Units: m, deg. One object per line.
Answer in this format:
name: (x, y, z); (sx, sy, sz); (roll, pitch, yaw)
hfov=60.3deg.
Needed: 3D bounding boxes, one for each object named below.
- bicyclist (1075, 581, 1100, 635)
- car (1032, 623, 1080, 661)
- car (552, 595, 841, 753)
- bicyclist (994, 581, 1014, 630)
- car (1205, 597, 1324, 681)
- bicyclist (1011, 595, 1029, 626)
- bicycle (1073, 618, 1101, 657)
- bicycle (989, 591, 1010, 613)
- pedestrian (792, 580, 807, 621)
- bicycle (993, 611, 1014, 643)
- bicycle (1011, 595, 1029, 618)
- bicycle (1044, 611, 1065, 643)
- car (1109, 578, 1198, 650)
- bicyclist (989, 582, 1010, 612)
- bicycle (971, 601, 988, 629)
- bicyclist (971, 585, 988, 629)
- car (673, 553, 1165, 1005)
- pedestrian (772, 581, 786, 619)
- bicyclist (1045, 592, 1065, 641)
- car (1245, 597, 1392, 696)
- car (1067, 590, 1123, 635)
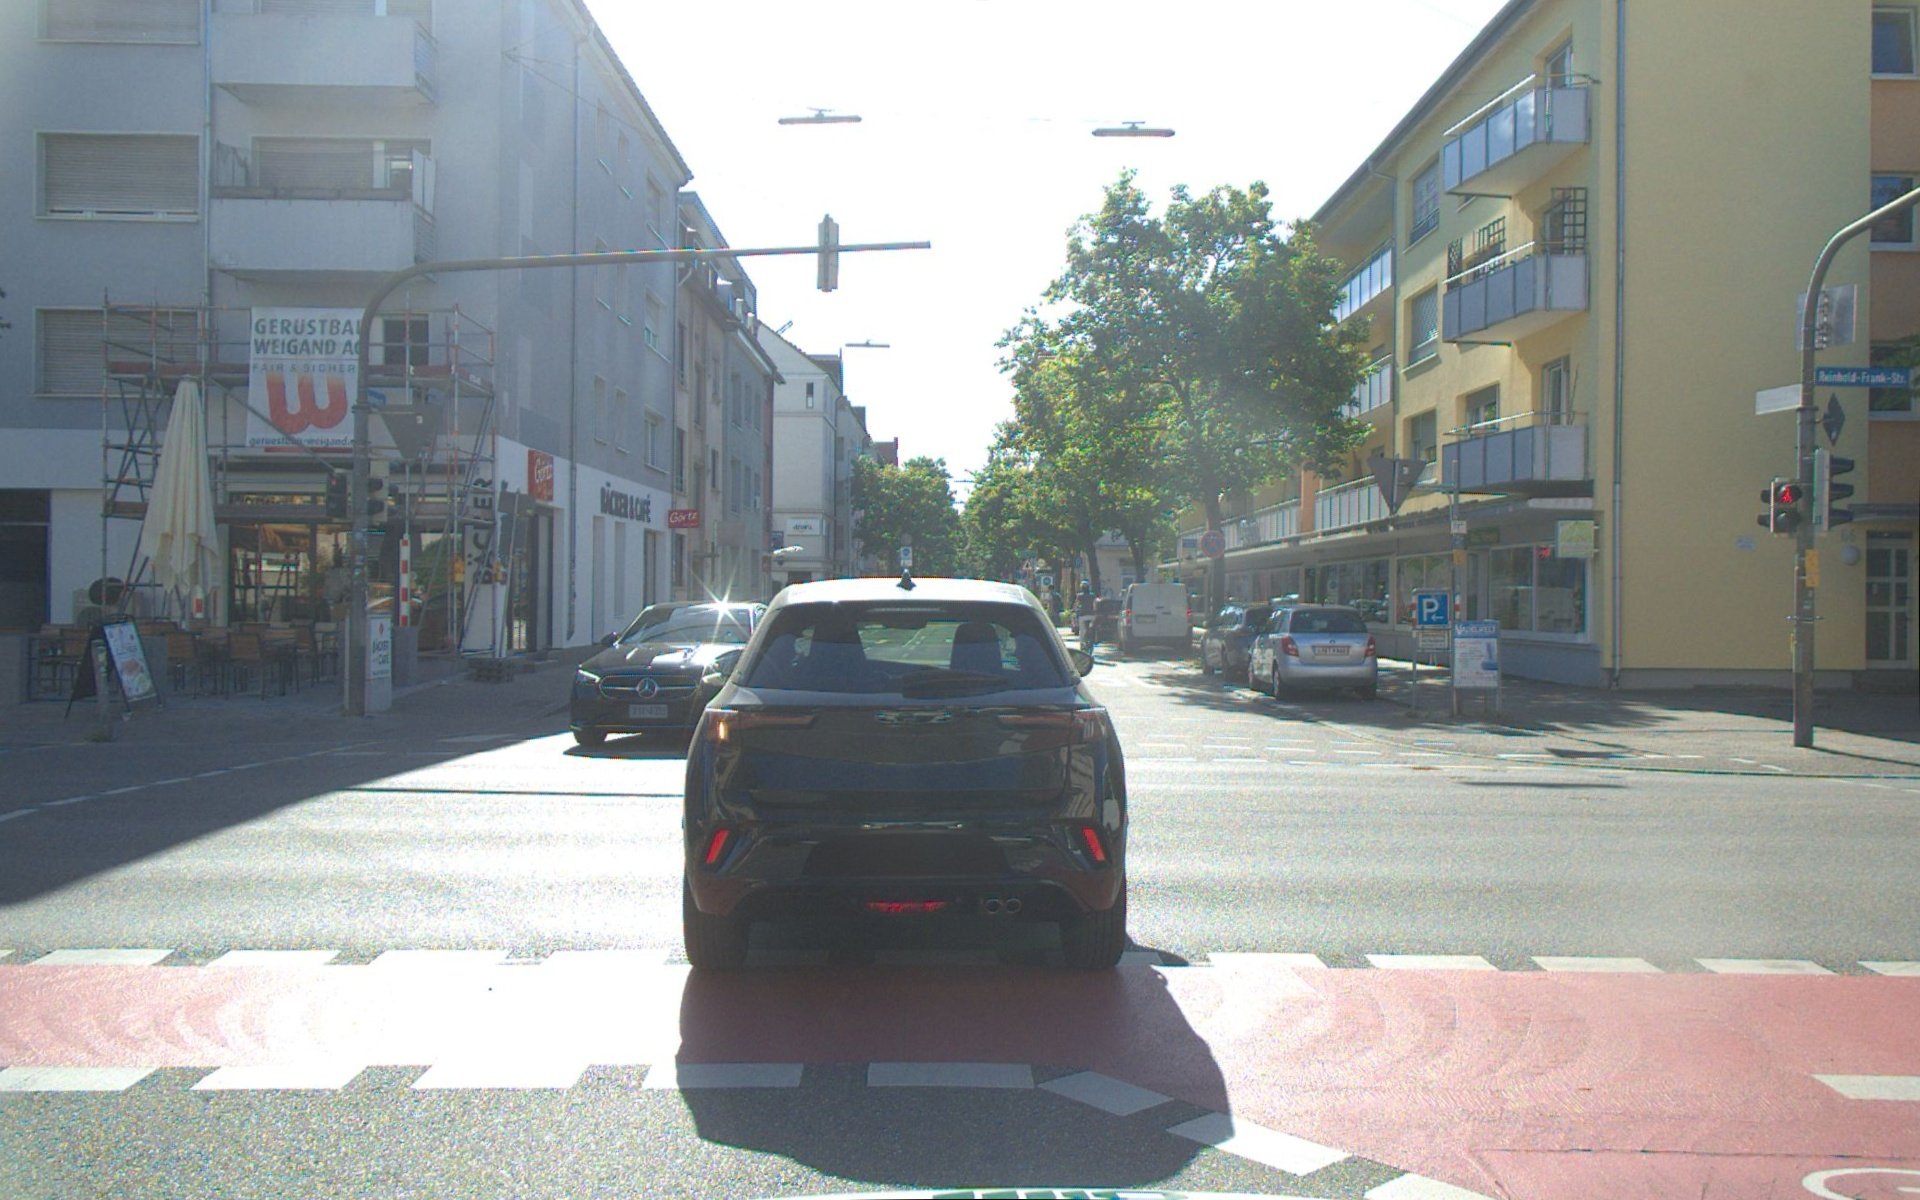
bicyclist: (3.032, 0.188, 39.359); (0.535, 1.284, 0.803); (0, 0, 1)
car: (3.744, 1.628, 64.731); (1.677, 1.337, 3.381); (0, 0, 0)
car: (-2.654, 0.692, 17.766); (1.766, 1.437, 4.430); (-1, 0, 9)
bicyclist: (1.286, 0.154, 48.443); (0.576, 1.406, 0.823); (0, 0, 1)
car: (5.830, 0.706, 32.010); (1.677, 1.509, 3.381); (0, 0, 0)
bicyclist: (2.365, 0.421, 65.078); (0.677, 1.214, 0.595); (0, 0, 1)
bicycle: (3.022, 0.887, 39.374); (0.535, 0.881, 1.876); (0, 0, 1)
bicycle: (1.778, 0.088, 75.477); (0.839, 0.961, 2.307); (3, 0, -1)
pedestrian: (-6.330, 0.016, 65.108); (0.566, 1.610, 0.707); (0, 0, -6)
bicycle: (1.267, 0.790, 48.527); (0.607, 0.881, 1.876); (0, 0, 1)
bicycle: (2.364, 0.262, 65.227); (0.677, 0.881, 1.876); (0, 0, 1)
bicycle: (2.760, 0.791, 48.413); (0.535, 0.881, 1.876); (0, 0, 1)
car: (5.323, 0.345, 45.947); (2.004, 1.879, 4.584); (0, 0, 1)
bicyclist: (1.790, -0.137, 75.446); (0.839, 1.337, 1.210); (3, 0, -1)
bicycle: (0.756, 0.569, 64.017); (0.619, 1.059, 1.795); (0, 0, -1)
bicyclist: (0.743, 0.259, 63.763); (0.619, 1.698, 1.050); (0, 0, -1)
car: (-0.161, 0.636, 7.852); (1.726, 1.586, 3.999); (1, 0, -1)
pedestrian: (-7.149, 0.012, 65.344); (0.566, 1.493, 0.702); (0, 0, -6)
bicyclist: (2.772, 0.482, 48.496); (0.535, 1.406, 0.823); (0, 0, 1)
car: (5.849, 0.719, 27.344); (1.677, 1.509, 3.480); (0, 0, 0)
car: (4.727, 0.421, 58.247); (1.677, 1.509, 3.381); (0, 0, 0)
